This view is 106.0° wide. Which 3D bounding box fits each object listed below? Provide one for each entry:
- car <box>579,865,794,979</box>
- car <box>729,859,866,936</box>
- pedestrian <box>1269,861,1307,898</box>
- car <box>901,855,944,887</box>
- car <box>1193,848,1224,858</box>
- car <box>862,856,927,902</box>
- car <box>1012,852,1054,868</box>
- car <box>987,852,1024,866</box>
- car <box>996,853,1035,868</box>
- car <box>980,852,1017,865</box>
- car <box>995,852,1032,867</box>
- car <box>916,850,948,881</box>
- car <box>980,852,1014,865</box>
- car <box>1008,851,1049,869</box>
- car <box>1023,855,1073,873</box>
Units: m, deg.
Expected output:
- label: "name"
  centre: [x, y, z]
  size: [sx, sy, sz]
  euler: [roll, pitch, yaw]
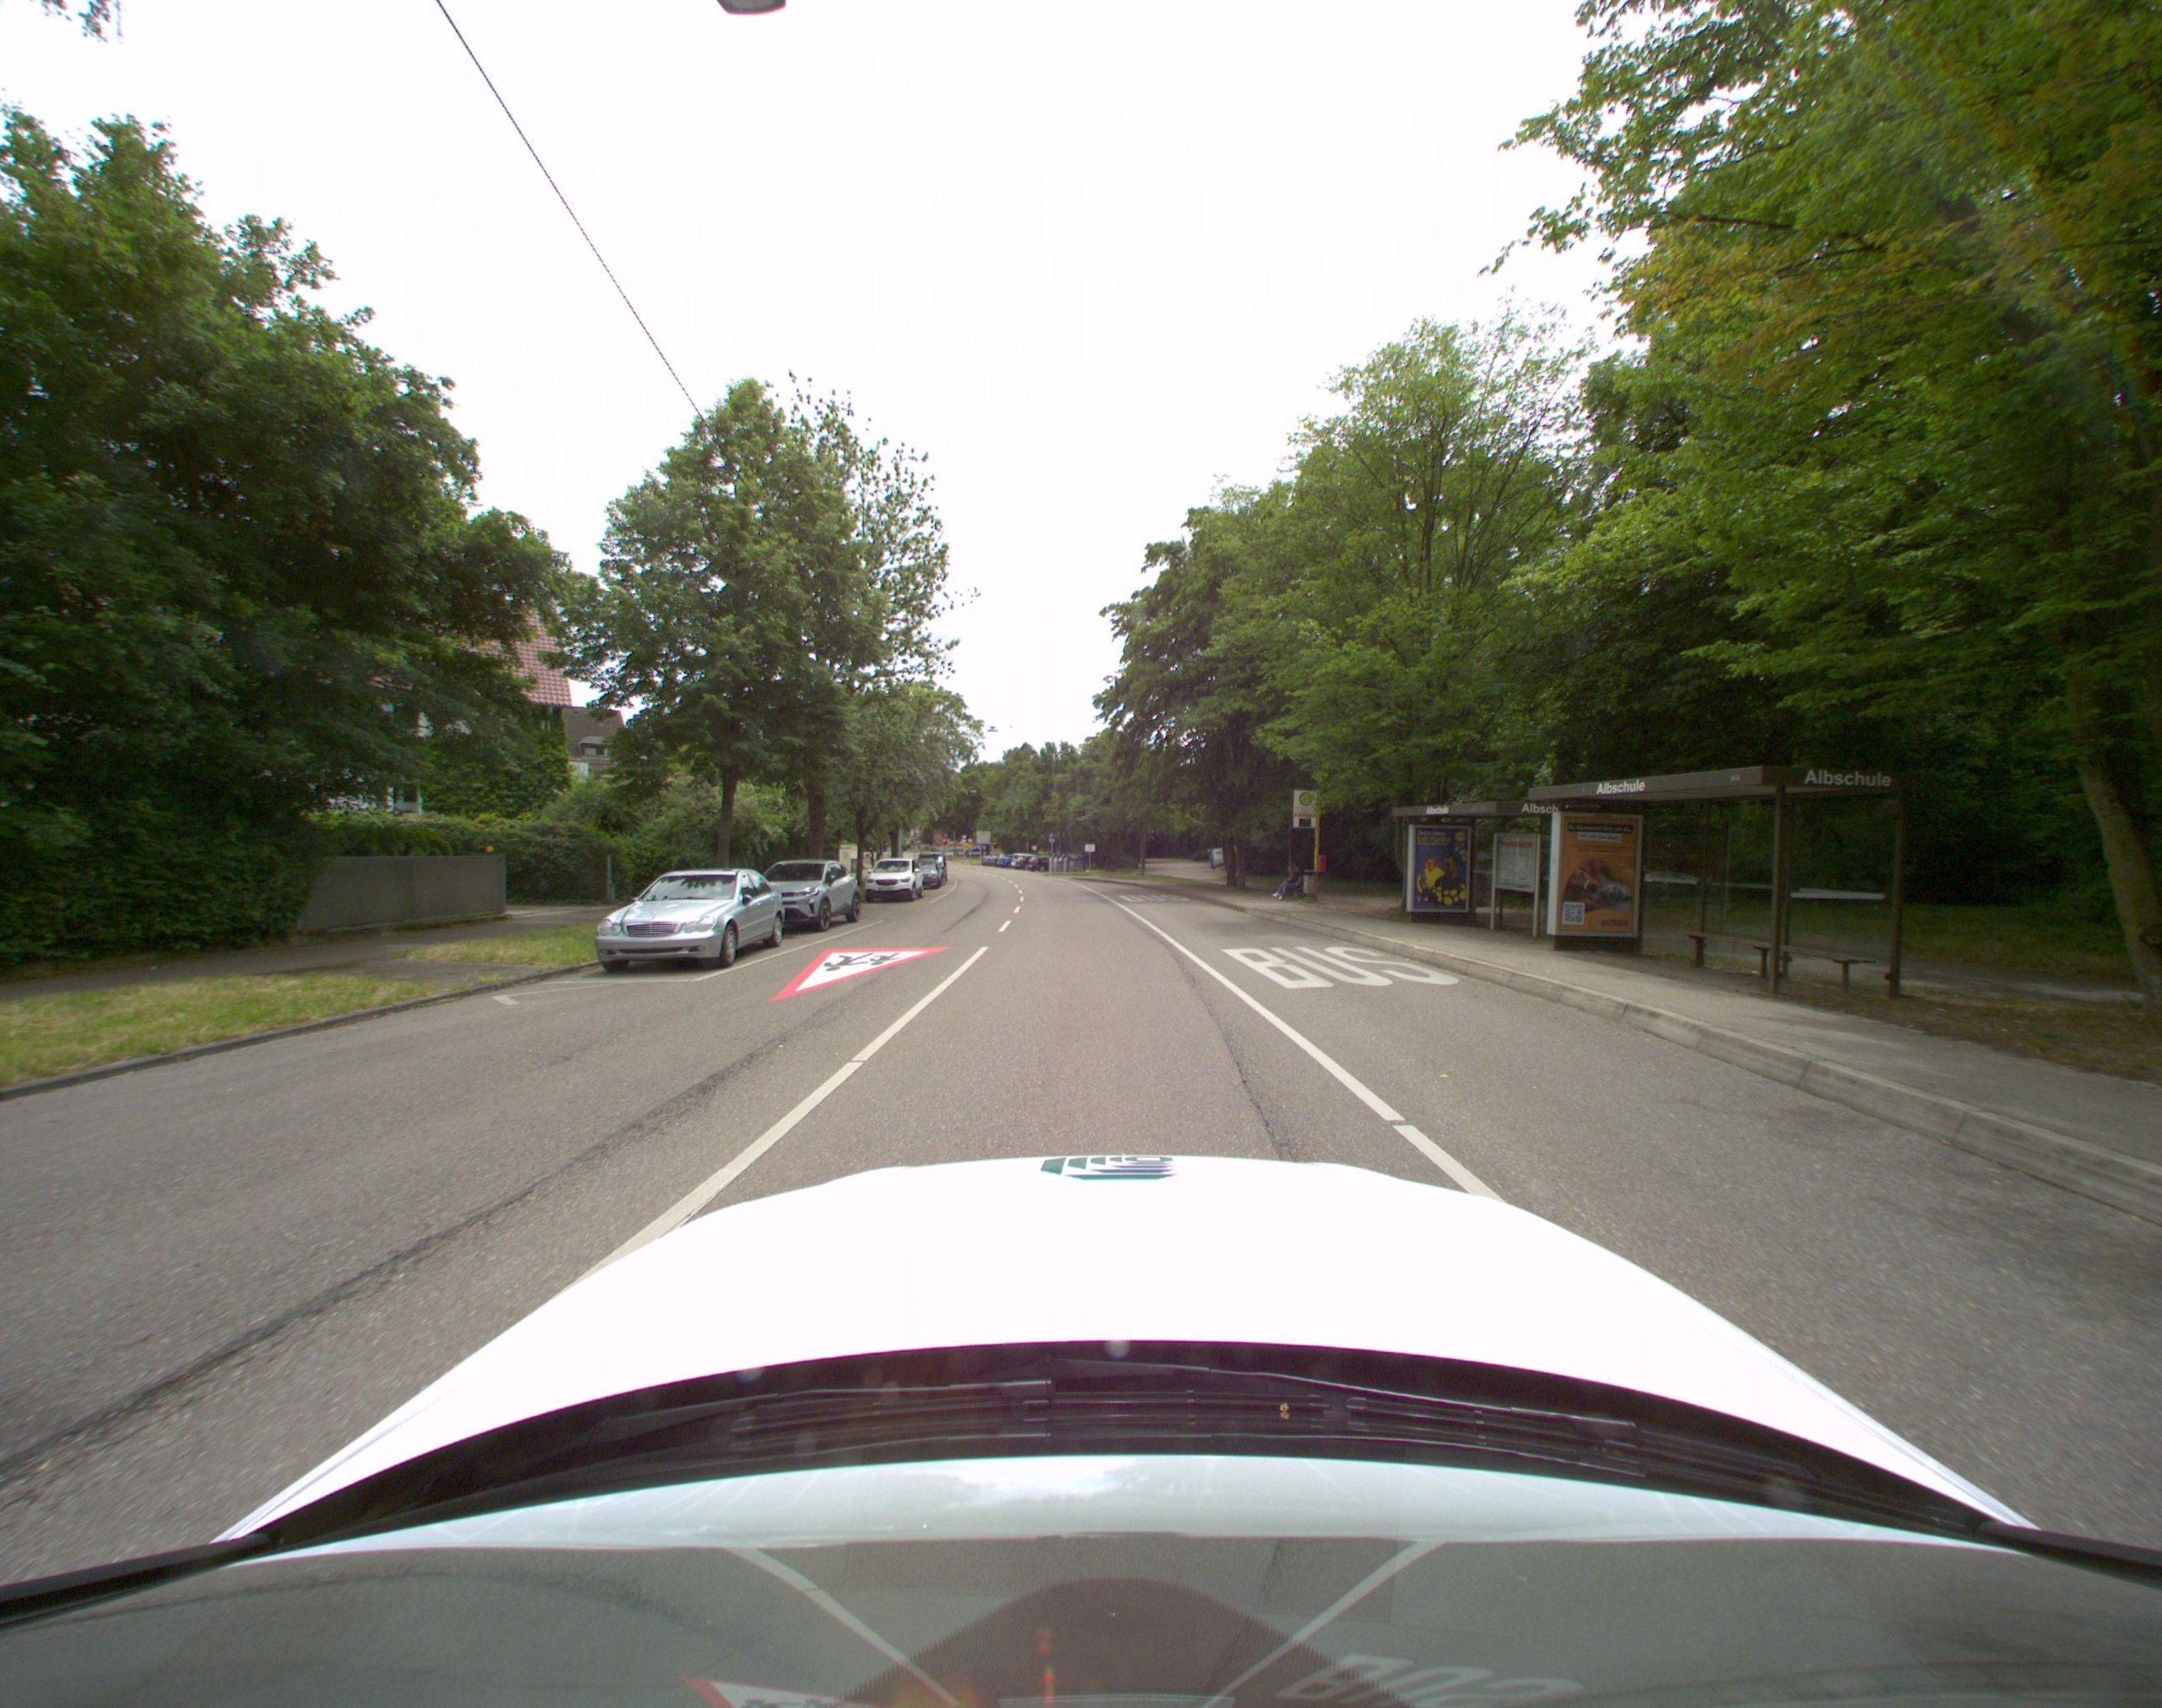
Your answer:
- label: "car"
  centre: [-6.079, 0.935, 13.172]
  size: [1.734, 1.416, 4.461]
  euler: [-1, 0, -7]
- label: "car"
  centre: [-6.411, 0.911, 18.947]
  size: [1.730, 1.538, 4.188]
  euler: [-1, 0, -1]
- label: "pedestrian"
  centre: [6.755, 0.818, 26.567]
  size: [1.062, 1.182, 0.579]
  euler: [0, 0, -7]
- label: "car"
  centre: [-8.155, 0.852, 42.301]
  size: [1.864, 1.538, 4.217]
  euler: [0, 0, -7]
- label: "car"
  centre: [18.296, -0.078, 116.965]
  size: [3.986, 1.409, 1.794]
  euler: [0, 0, -9]
- label: "car"
  centre: [-6.964, 0.882, 30.837]
  size: [1.732, 1.578, 4.135]
  euler: [-1, 0, -4]
- label: "car"
  centre: [-4.883, 0.593, 83.165]
  size: [3.846, 1.468, 1.728]
  euler: [3, 0, -34]
- label: "car"
  centre: [-8.818, 0.581, 94.863]
  size: [3.846, 1.528, 1.728]
  euler: [3, -2, -34]
- label: "car"
  centre: [-7.267, 0.691, 90.237]
  size: [3.846, 1.528, 1.728]
  euler: [3, -2, -34]
- label: "car"
  centre: [-9.908, 0.524, 97.856]
  size: [3.901, 1.426, 1.811]
  euler: [3, -2, -34]
- label: "car"
  centre: [-7.702, 0.627, 93.094]
  size: [3.846, 1.528, 1.728]
  euler: [3, -2, -34]
- label: "car"
  centre: [-9.496, 0.684, 52.304]
  size: [1.857, 1.909, 5.067]
  euler: [0, 0, -9]
- label: "car"
  centre: [-10.591, 0.543, 102.607]
  size: [3.846, 1.425, 1.728]
  euler: [3, -2, -34]
- label: "car"
  centre: [-5.548, 0.606, 85.790]
  size: [3.846, 1.720, 1.858]
  euler: [3, -1, -34]
- label: "car"
  centre: [-3.024, 0.918, 75.052]
  size: [4.015, 1.414, 2.036]
  euler: [3, 0, -34]
